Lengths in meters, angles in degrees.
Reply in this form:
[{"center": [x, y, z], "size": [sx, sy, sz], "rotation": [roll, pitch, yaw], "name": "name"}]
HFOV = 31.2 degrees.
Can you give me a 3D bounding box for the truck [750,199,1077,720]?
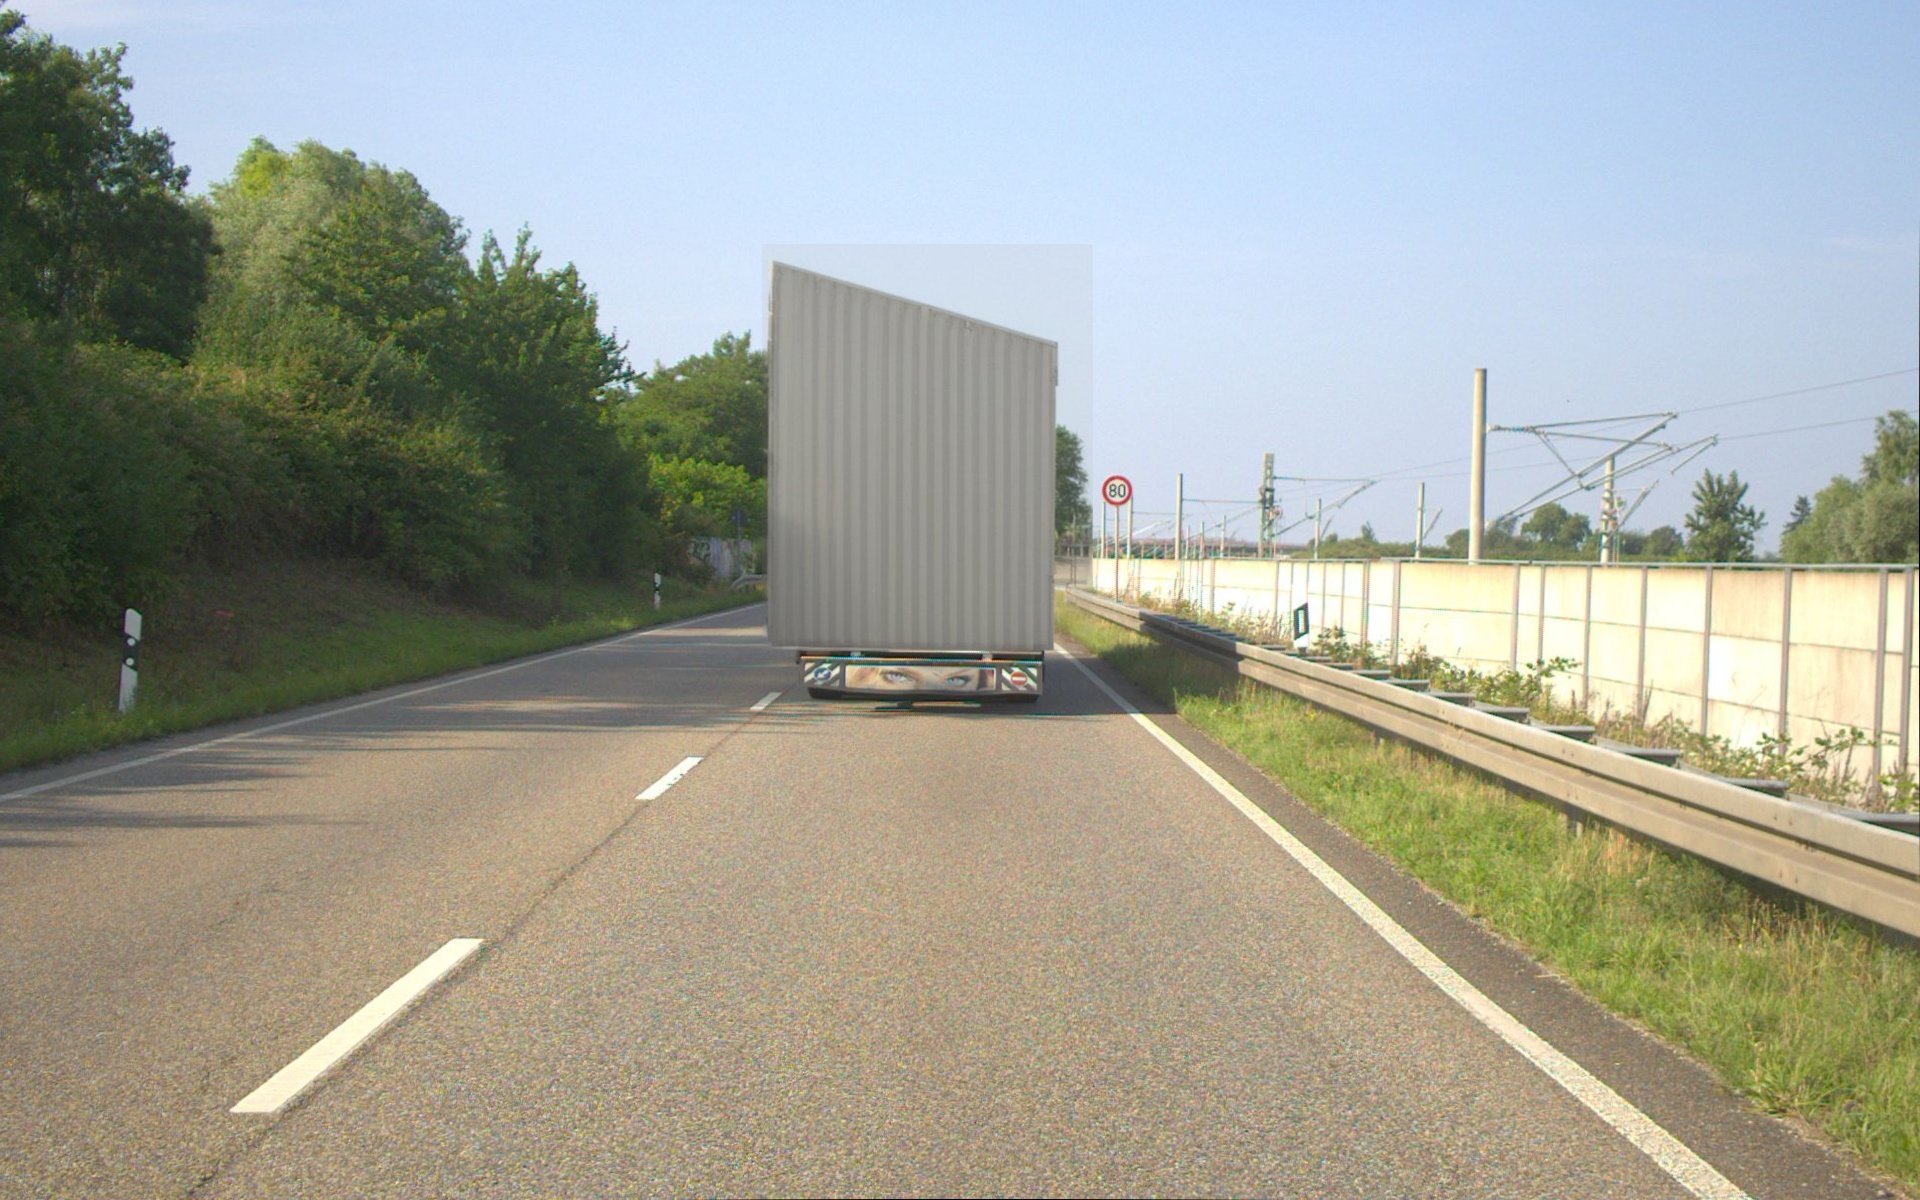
[{"center": [-0.574, -1.416, 38.532], "size": [3.033, 4.903, 11.685], "rotation": [1, 1, -1], "name": "truck"}]
